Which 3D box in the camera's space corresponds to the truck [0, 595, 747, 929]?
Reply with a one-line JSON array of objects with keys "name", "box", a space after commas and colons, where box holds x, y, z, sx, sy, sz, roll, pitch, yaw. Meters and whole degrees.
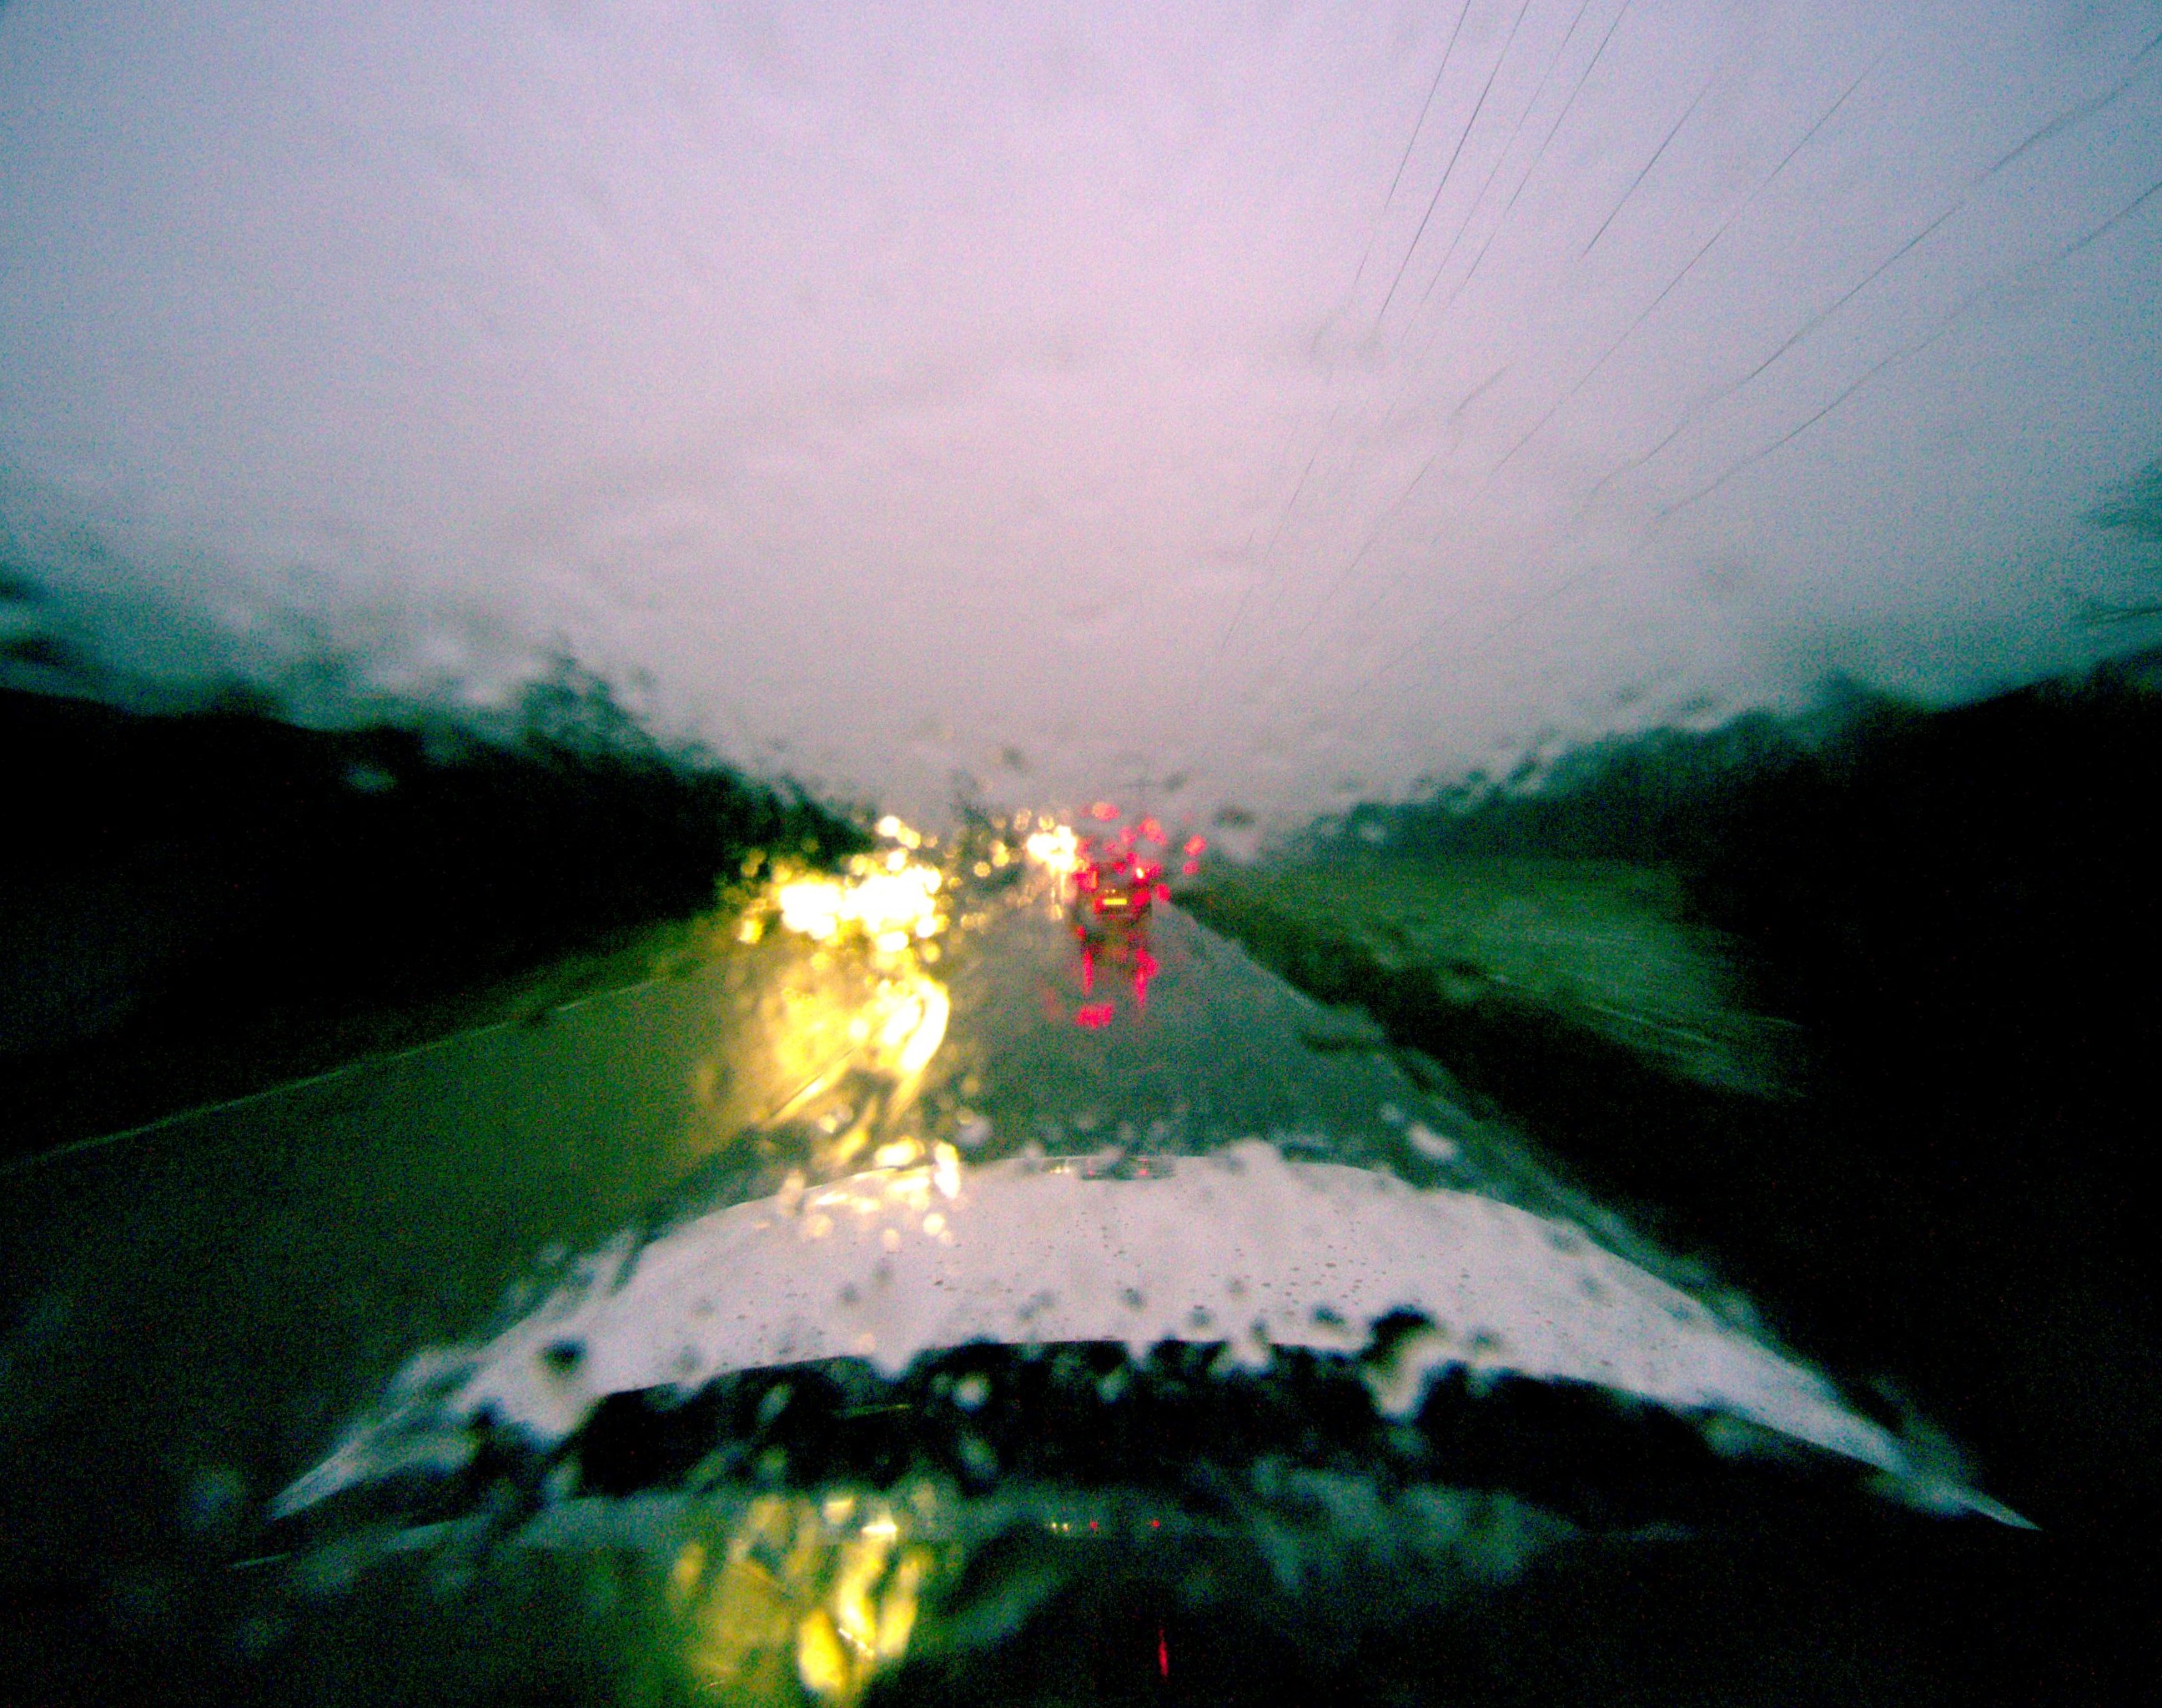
[{"name": "truck", "box": [-27.986, -2.034, 37.099, 7.514, 7.713, 40.170, -1, 0, 2]}]

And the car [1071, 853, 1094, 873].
[{"name": "car", "box": [0.083, 0.691, 67.990, 1.764, 1.591, 4.161, -1, 0, -1]}]

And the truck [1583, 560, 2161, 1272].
[{"name": "truck", "box": [5.782, 0.250, 3.463, 2.525, 2.978, 7.858, -1, 0, 1]}]

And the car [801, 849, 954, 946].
[{"name": "car", "box": [-3.691, 0.712, 15.548, 1.763, 1.591, 4.165, -1, 0, 1]}]

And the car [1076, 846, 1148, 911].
[{"name": "car", "box": [0.661, 0.538, 19.337, 1.496, 1.398, 3.197, -1, 0, -2]}]

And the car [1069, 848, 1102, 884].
[{"name": "car", "box": [0.220, 0.681, 48.176, 1.847, 2.014, 3.997, -1, 0, -2]}]
